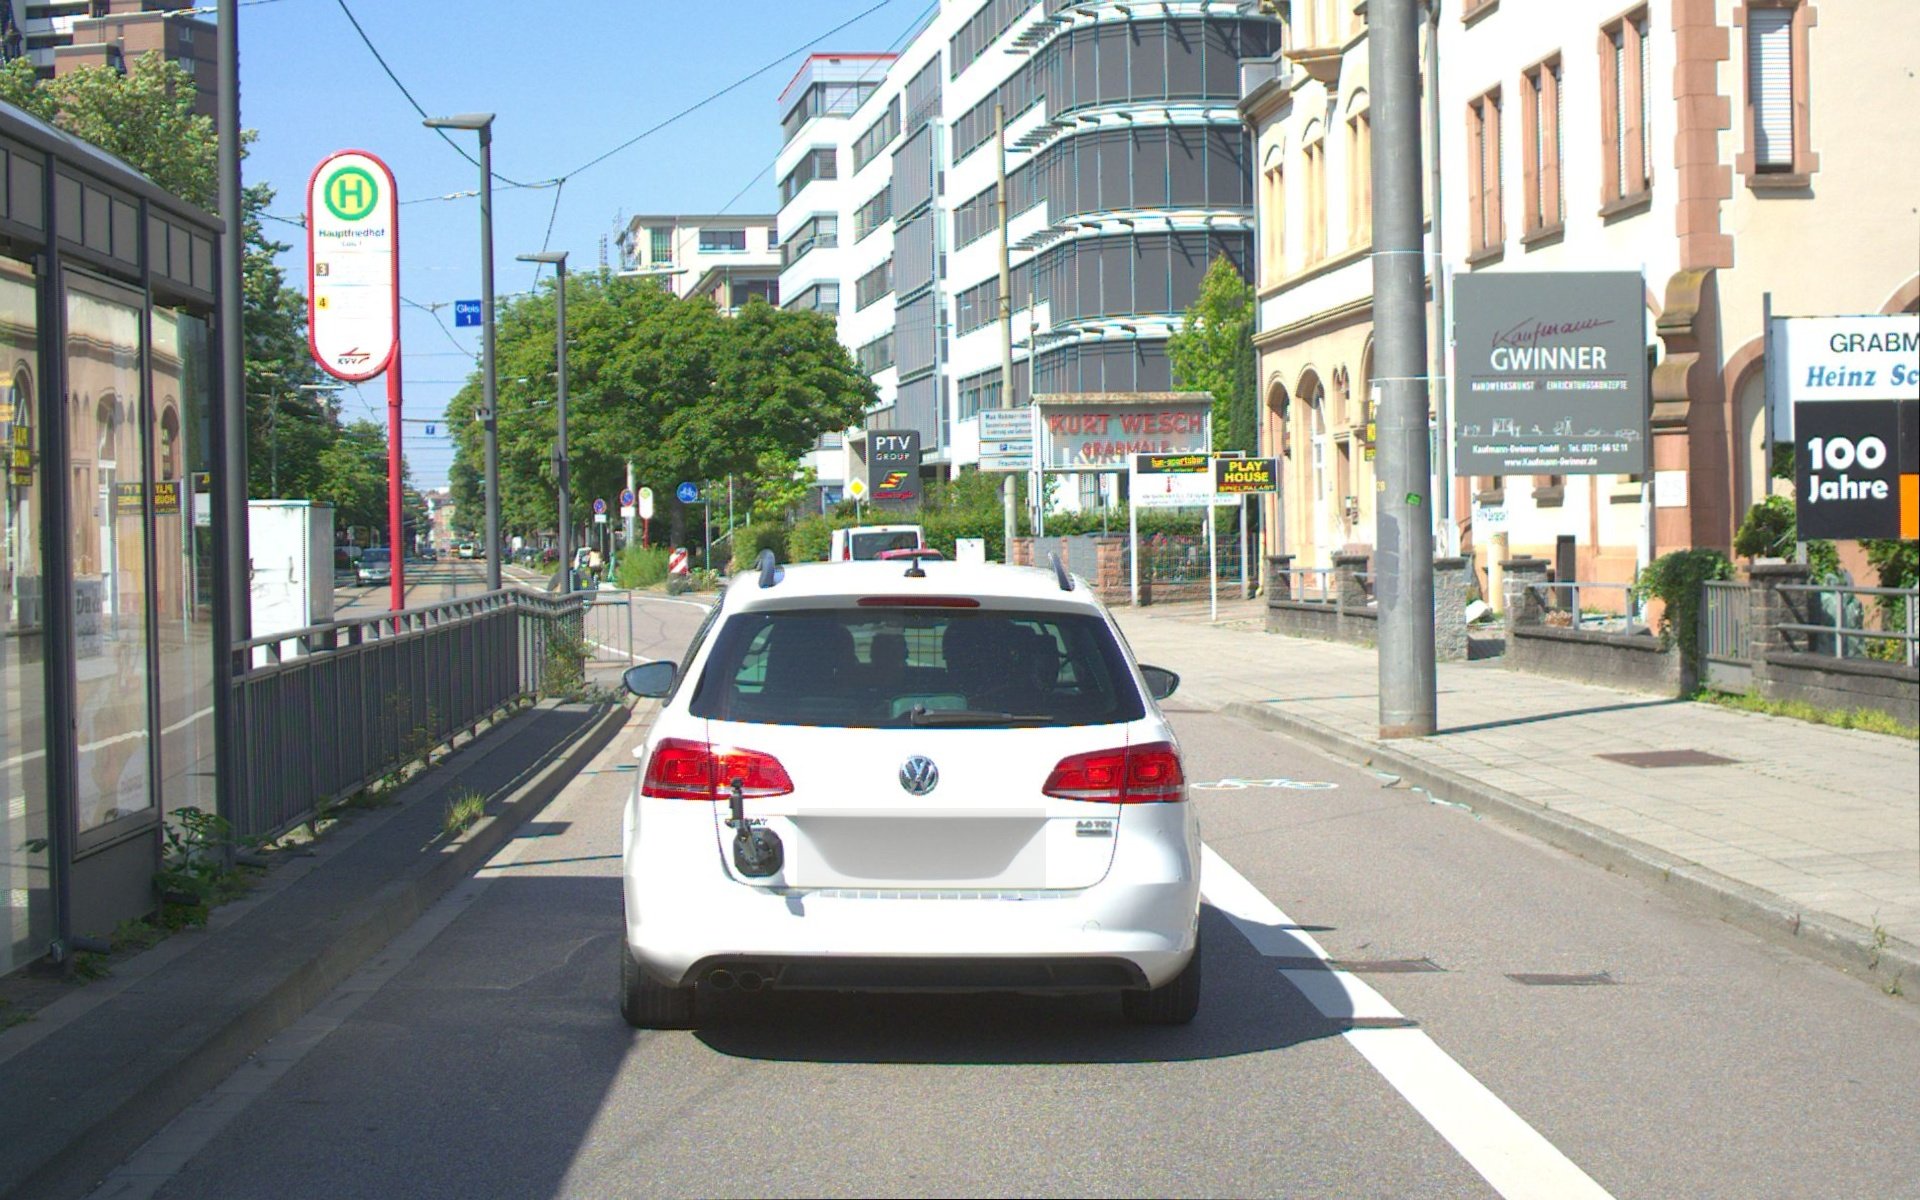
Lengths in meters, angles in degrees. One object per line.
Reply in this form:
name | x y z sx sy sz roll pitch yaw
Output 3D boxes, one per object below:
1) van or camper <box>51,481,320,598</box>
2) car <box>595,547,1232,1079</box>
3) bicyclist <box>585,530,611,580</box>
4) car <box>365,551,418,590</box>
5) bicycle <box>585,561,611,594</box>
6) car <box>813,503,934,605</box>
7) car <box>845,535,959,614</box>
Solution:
van or camper | -21.249 -1.654 94.395 6.696 2.957 2.614 2 0 15
car | -0.254 0.559 11.712 1.753 1.437 4.413 0 1 -3
bicyclist | -12.111 -1.502 114.992 0.785 1.623 0.738 2 0 -8
car | -23.995 -1.244 145.134 1.746 1.566 3.892 -2 0 -3
bicycle | -12.120 -0.771 115.074 0.811 1.074 2.012 -1 1 -8
car | -1.935 -1.005 74.923 1.976 2.047 5.192 -3 1 -8
car | -1.184 -0.517 68.743 1.721 1.438 4.313 -3 1 -8
